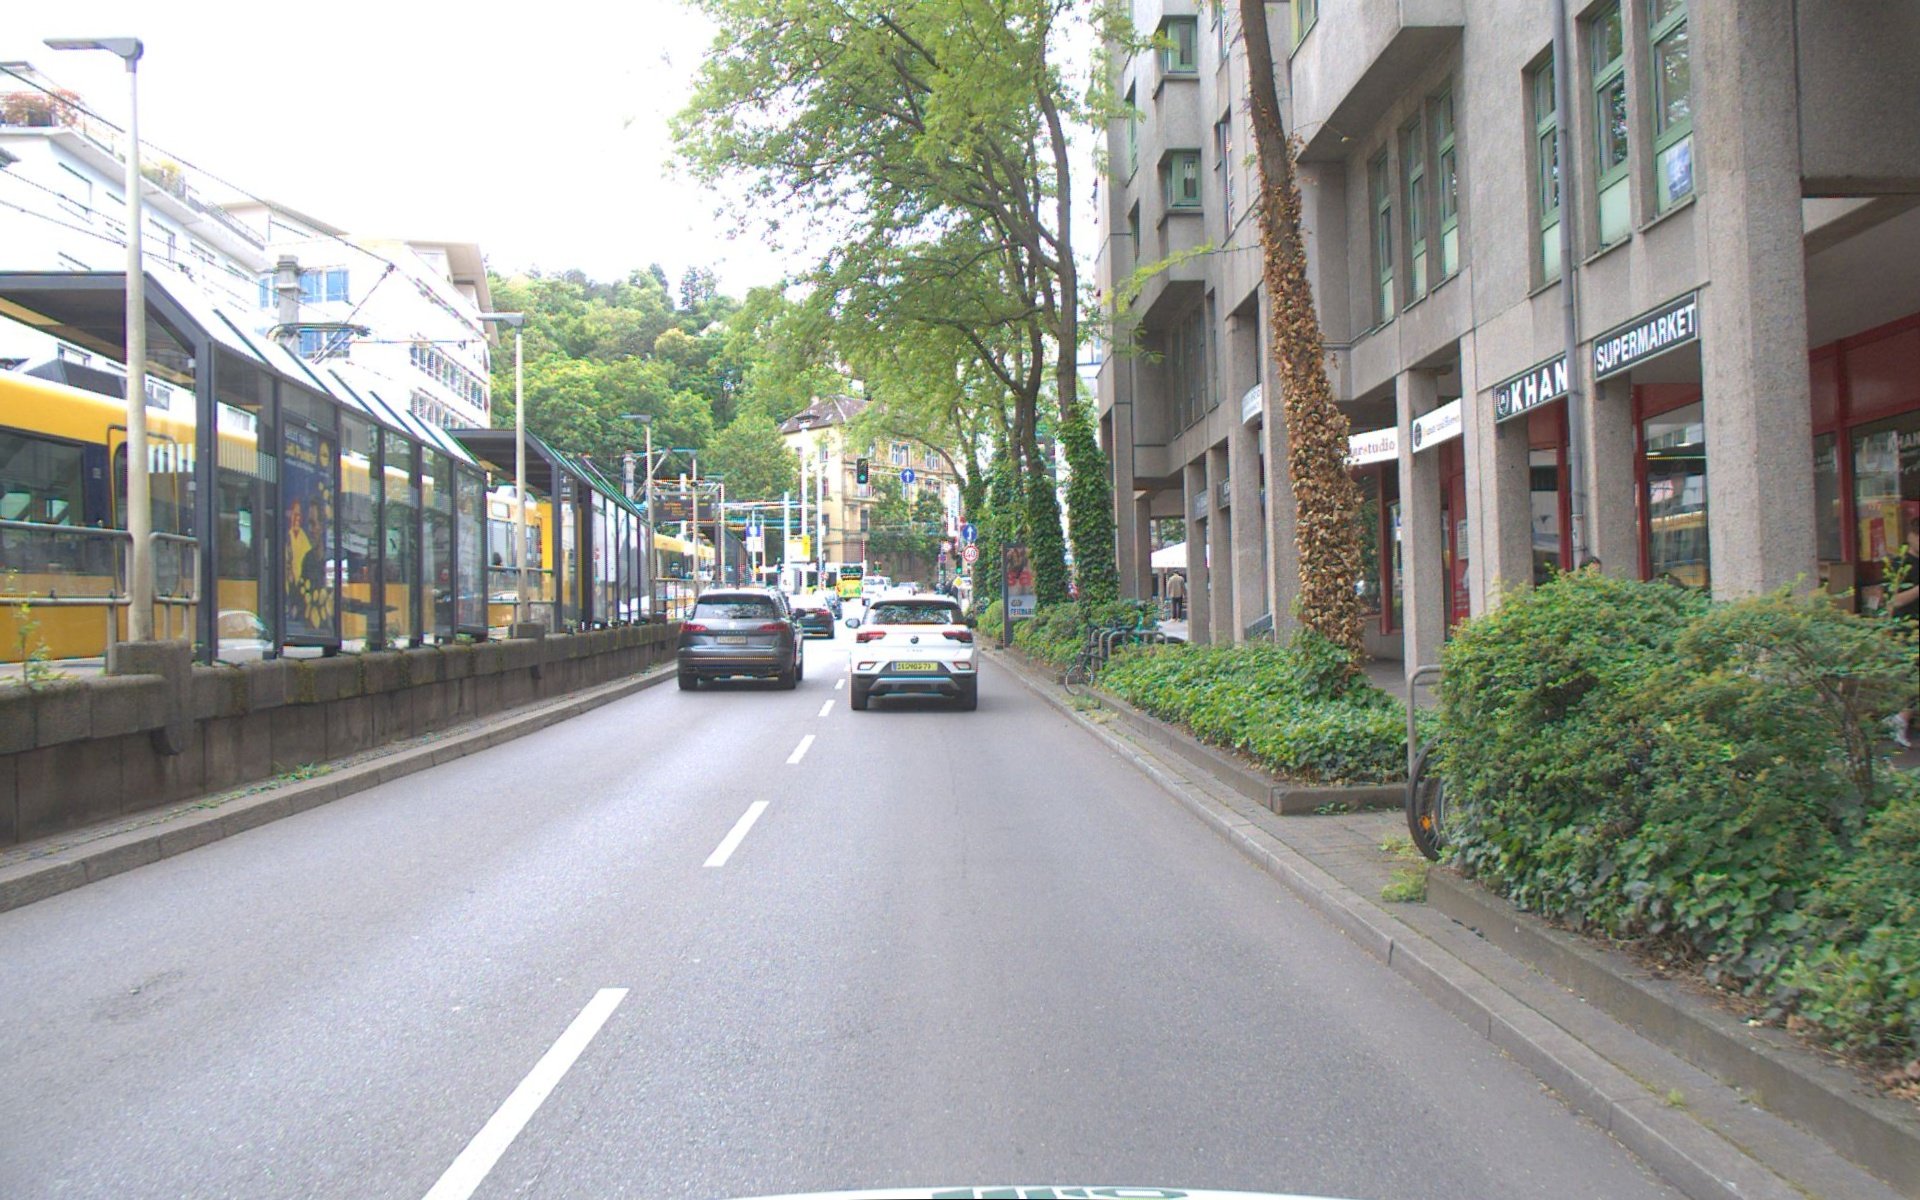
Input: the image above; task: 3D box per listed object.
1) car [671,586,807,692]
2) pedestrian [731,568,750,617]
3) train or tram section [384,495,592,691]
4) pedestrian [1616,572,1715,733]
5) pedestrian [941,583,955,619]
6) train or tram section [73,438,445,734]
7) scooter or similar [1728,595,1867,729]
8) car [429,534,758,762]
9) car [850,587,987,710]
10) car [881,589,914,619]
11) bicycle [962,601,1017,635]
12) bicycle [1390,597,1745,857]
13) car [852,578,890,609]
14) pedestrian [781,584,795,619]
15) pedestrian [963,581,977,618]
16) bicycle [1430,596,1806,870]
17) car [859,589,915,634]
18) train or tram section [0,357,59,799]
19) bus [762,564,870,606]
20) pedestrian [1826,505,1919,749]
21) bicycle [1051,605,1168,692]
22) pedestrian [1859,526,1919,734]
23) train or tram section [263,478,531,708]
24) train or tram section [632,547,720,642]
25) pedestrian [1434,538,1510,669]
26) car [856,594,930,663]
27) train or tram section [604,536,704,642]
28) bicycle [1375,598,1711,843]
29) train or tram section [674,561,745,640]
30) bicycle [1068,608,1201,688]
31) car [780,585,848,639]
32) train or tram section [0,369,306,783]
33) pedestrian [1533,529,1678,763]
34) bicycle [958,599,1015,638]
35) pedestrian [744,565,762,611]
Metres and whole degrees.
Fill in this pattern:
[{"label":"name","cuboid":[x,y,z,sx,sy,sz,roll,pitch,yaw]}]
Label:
[{"label":"car","cuboid":[-3.691,0.622,28.281,1.954,1.664,3.998,0,0,-3]},{"label":"pedestrian","cuboid":[-9.230,-0.299,69.599,0.748,2.049,0.836,0,-2,-9]},{"label":"train or tram section","cuboid":[-9.656,-0.107,34.507,2.756,3.731,5.900,0,-1,-1]},{"label":"pedestrian","cuboid":[7.512,0.543,17.620,0.767,1.640,0.614,-1,2,45]},{"label":"pedestrian","cuboid":[-0.697,0.056,96.294,0.746,2.049,0.838,0,-2,3]},{"label":"train or tram section","cuboid":[-9.381,-0.140,22.913,2.777,3.583,5.749,0,-1,-1]},{"label":"scooter or similar","cuboid":[7.450,0.549,14.719,0.758,1.129,0.845,-1,-2,-41]},{"label":"car","cuboid":[-3.607,0.501,17.469,2.316,2.049,5.147,0,-2,0]},{"label":"car","cuboid":[-0.656,0.667,23.885,1.801,1.611,4.154,0,-1,-3]},{"label":"car","cuboid":[-3.815,0.249,101.261,1.846,1.713,4.160,0,-2,0]},{"label":"bicycle","cuboid":[1.024,0.613,57.279,1.841,1.157,0.808,0,-2,4]},{"label":"bicycle","cuboid":[3.136,0.633,8.562,1.676,1.204,0.447,-3,-1,-10]},{"label":"car","cuboid":[-6.388,-0.424,118.754,2.316,2.049,5.148,0,-2,1]},{"label":"pedestrian","cuboid":[-10.045,0.085,96.797,0.746,2.049,0.838,0,-2,-2]},{"label":"pedestrian","cuboid":[0.579,-0.024,92.250,0.746,2.049,0.838,0,-2,3]},{"label":"bicycle","cuboid":[3.219,0.627,8.118,1.676,1.204,0.447,-3,-1,-10]},{"label":"car","cuboid":[-2.933,0.481,65.761,1.850,1.713,4.152,0,-2,-8]},{"label":"train or tram section","cuboid":[-9.126,-0.199,11.381,2.777,3.583,5.749,0,-1,-1]},{"label":"bus","cuboid":[-12.347,-1.185,140.358,3.341,3.119,13.169,1,-2,-33]},{"label":"pedestrian","cuboid":[7.392,0.185,12.909,0.815,1.834,0.723,-3,1,-2]},{"label":"bicycle","cuboid":[2.145,0.696,23.840,1.587,1.147,0.613,-3,-1,1]},{"label":"pedestrian","cuboid":[8.327,0.258,14.258,0.746,1.754,0.677,-1,-2,3]},{"label":"train or tram section","cuboid":[-9.517,-0.085,28.670,2.777,3.583,5.749,0,-1,-1]},{"label":"train or tram section","cuboid":[-11.652,-0.164,68.423,2.757,3.731,6.747,0,-1,-3]},{"label":"pedestrian","cuboid":[7.423,0.039,24.014,0.815,1.834,0.723,-3,1,0]},{"label":"car","cuboid":[-1.767,0.771,43.522,1.847,1.713,4.159,0,-2,-2]},{"label":"train or tram section","cuboid":[-11.298,-0.353,61.678,2.757,3.731,6.747,0,-1,-3]},{"label":"bicycle","cuboid":[3.179,0.635,9.047,1.676,1.204,0.447,-3,-1,-10]},{"label":"train or tram section","cuboid":[-12.342,0.067,81.944,2.757,3.731,6.747,0,-1,-3]},{"label":"bicycle","cuboid":[2.639,0.718,25.078,1.878,1.095,0.612,-3,-1,-5]},{"label":"car","cuboid":[-4.835,0.389,55.245,1.873,1.719,4.000,0,0,0]},{"label":"train or tram section","cuboid":[-9.265,-0.184,17.134,2.777,3.583,5.749,0,-1,-1]},{"label":"pedestrian","cuboid":[5.249,0.348,13.488,0.747,1.814,0.847,-2,1,-7]},{"label":"bicycle","cuboid":[0.905,0.632,55.781,1.840,1.288,0.765,0,-2,9]},{"label":"pedestrian","cuboid":[-9.248,-0.534,73.966,0.748,2.049,0.836,0,-2,-9]}]
